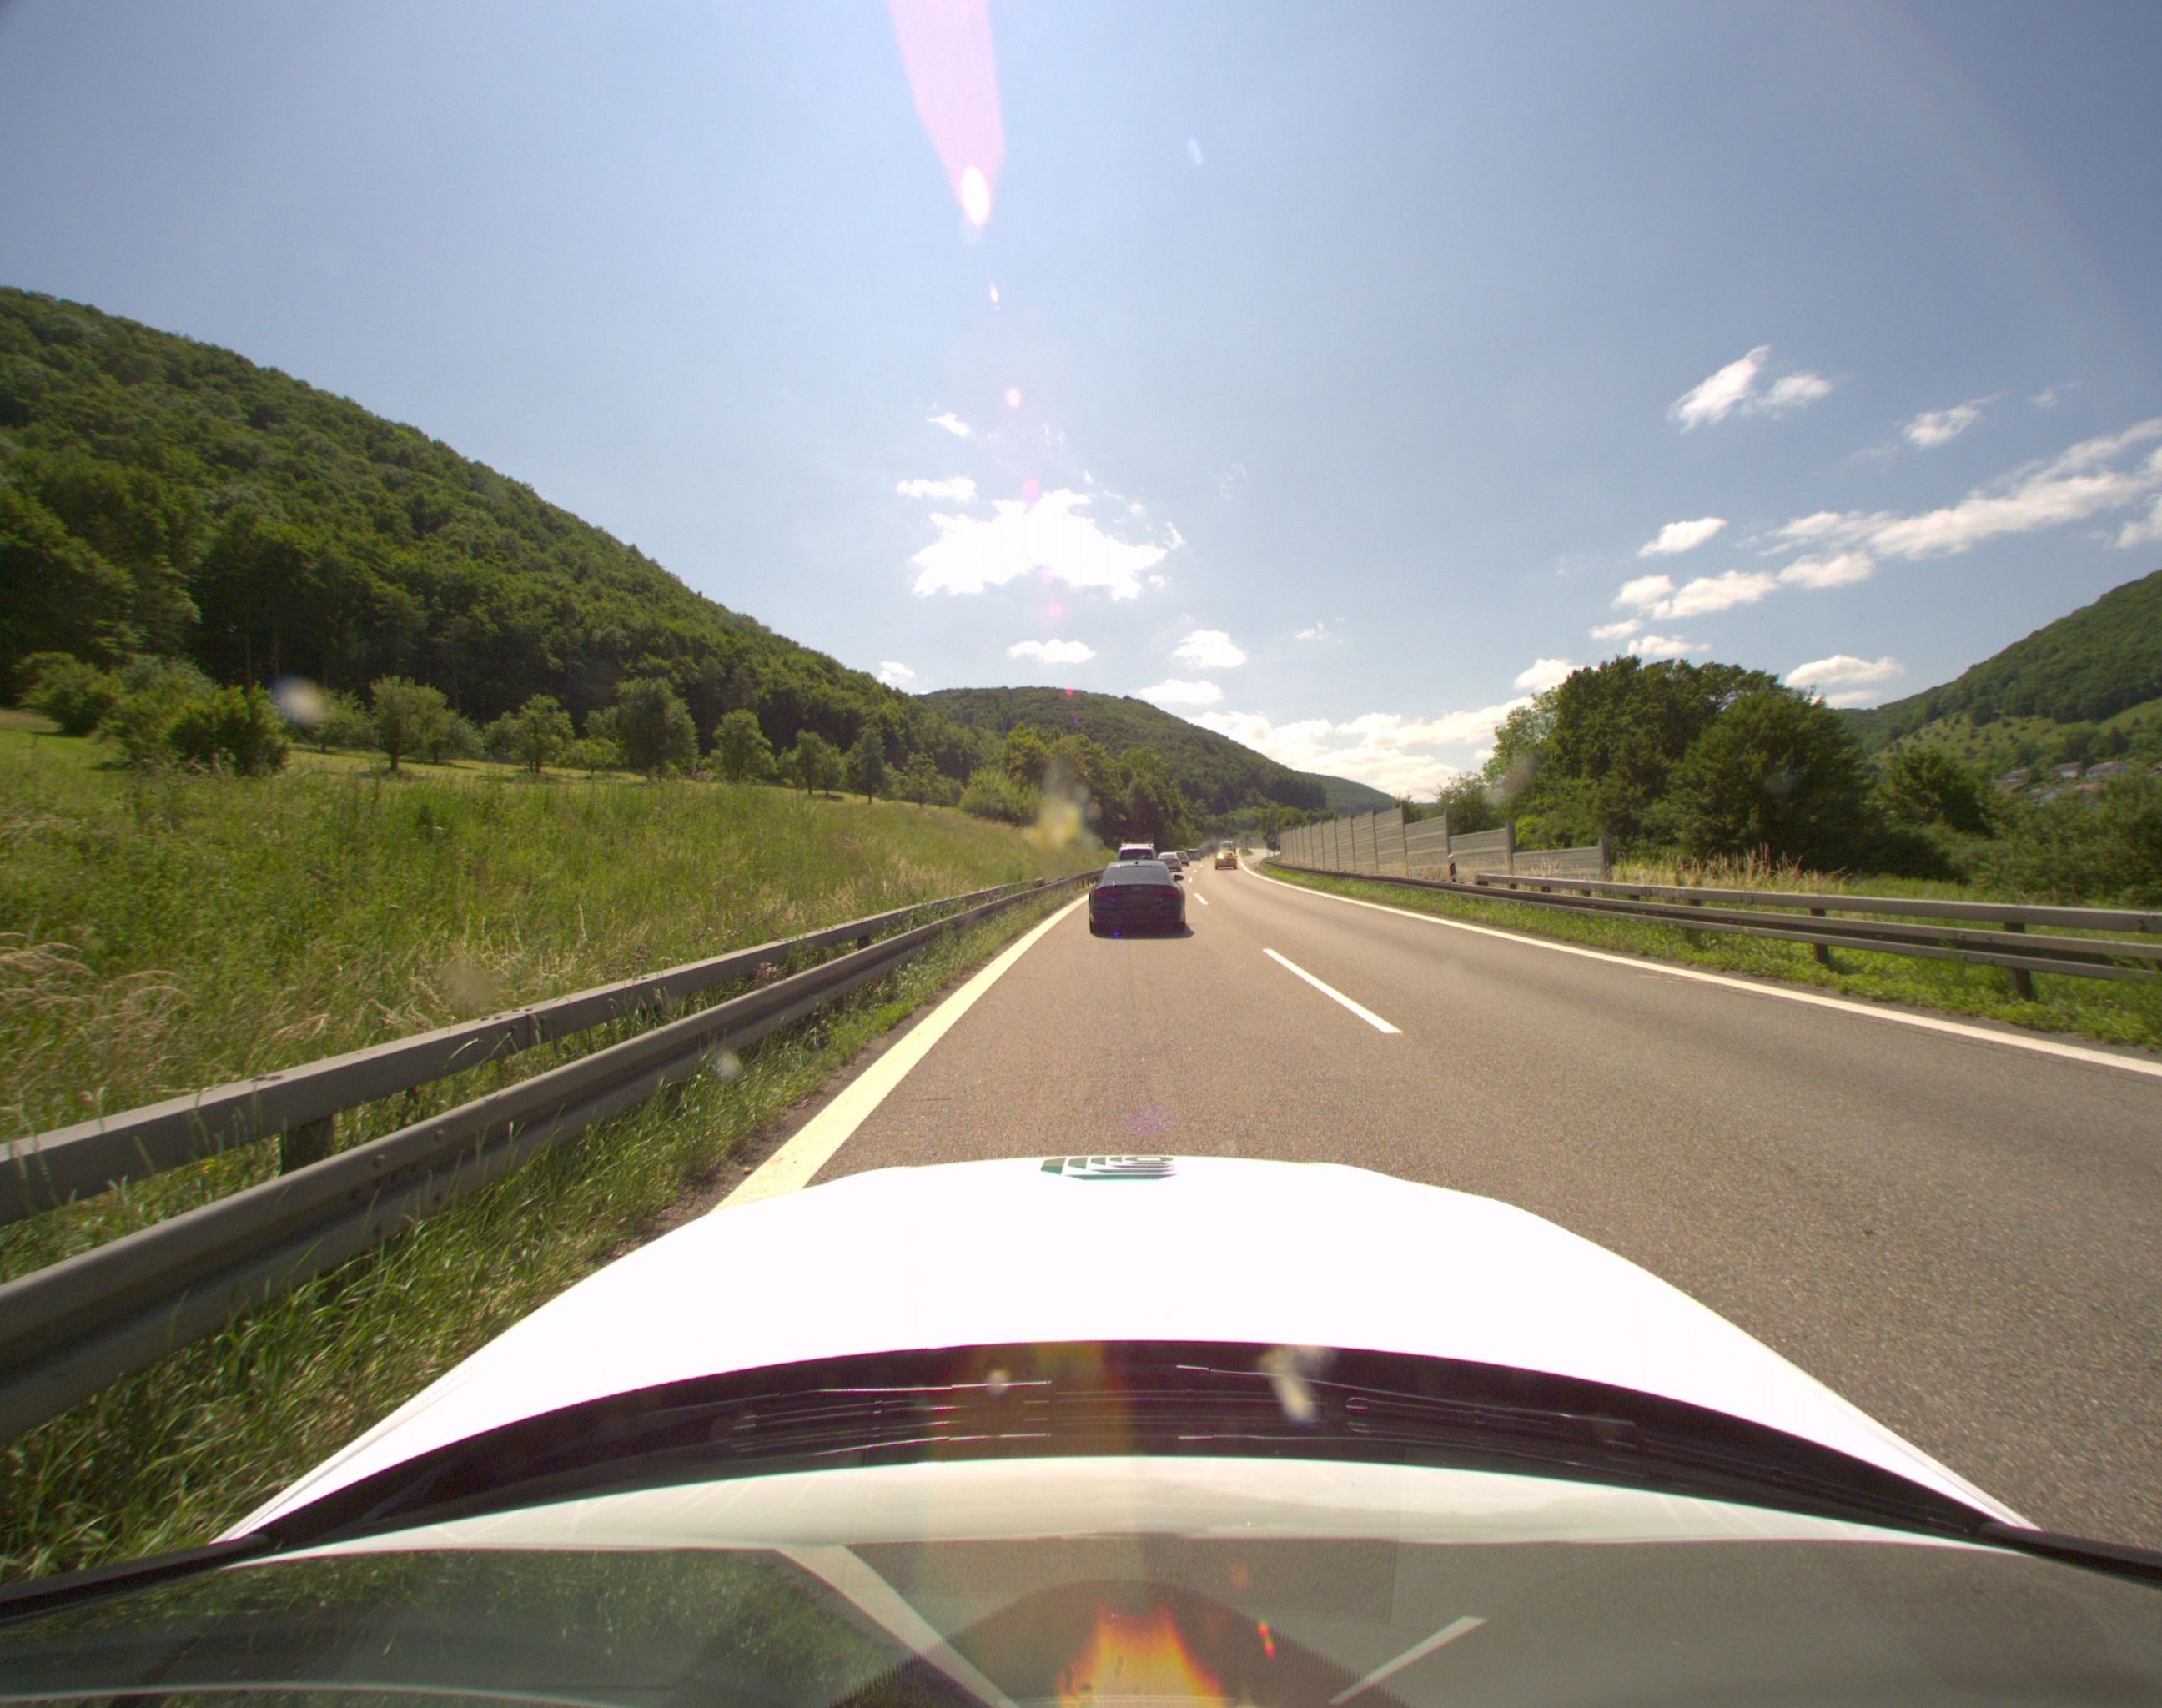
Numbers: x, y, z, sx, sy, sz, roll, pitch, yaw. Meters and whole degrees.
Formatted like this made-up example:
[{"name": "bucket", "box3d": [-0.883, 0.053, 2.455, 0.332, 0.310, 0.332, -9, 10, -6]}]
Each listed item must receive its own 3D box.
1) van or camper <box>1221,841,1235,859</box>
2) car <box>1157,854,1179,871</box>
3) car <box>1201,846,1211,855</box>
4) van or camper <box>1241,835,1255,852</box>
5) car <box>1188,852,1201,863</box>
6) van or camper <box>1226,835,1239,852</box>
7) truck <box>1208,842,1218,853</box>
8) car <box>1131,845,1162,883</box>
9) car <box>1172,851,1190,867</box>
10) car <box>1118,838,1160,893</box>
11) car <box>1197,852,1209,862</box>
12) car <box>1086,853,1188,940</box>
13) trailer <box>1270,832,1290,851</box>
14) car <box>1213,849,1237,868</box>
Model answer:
[{"name": "van or camper", "box3d": [26.201, -0.744, 144.976, 2.414, 3.155, 5.219, 0, -1, 11]}, {"name": "car", "box3d": [6.800, 0.663, 63.633, 1.512, 1.294, 3.522, -1, 0, 8]}, {"name": "car", "box3d": [23.210, -0.616, 151.177, 1.511, 1.553, 3.526, 0, 0, 12]}, {"name": "van or camper", "box3d": [38.423, -2.427, 187.683, 2.778, 3.841, 6.182, 0, -1, 9]}, {"name": "car", "box3d": [15.575, 0.460, 111.930, 1.511, 1.553, 3.526, 0, 0, 12]}, {"name": "van or camper", "box3d": [35.069, -2.355, 189.018, 2.778, 3.907, 6.182, 0, -1, 9]}, {"name": "truck", "box3d": [31.188, -1.521, 192.390, 2.050, 2.605, 5.633, 0, 0, 13]}, {"name": "car", "box3d": [3.504, 0.521, 43.524, 1.532, 1.925, 3.482, 0, 0, 4]}, {"name": "car", "box3d": [10.098, 0.527, 81.979, 1.511, 1.553, 3.525, 0, 0, 11]}, {"name": "car", "box3d": [2.245, 0.405, 31.170, 1.514, 1.968, 3.519, 0, 0, 4]}, {"name": "car", "box3d": [19.586, 0.445, 130.520, 1.510, 1.553, 3.527, 0, 0, 13]}, {"name": "car", "box3d": [1.131, 0.782, 16.679, 1.804, 1.514, 3.517, -2, 0, 3]}, {"name": "trailer", "box3d": [43.365, -2.612, 177.712, 3.390, 3.900, 11.184, -2, 0, 10]}, {"name": "car", "box3d": [12.023, 0.362, 67.701, 1.867, 1.499, 4.012, -2, 0, 11]}]
